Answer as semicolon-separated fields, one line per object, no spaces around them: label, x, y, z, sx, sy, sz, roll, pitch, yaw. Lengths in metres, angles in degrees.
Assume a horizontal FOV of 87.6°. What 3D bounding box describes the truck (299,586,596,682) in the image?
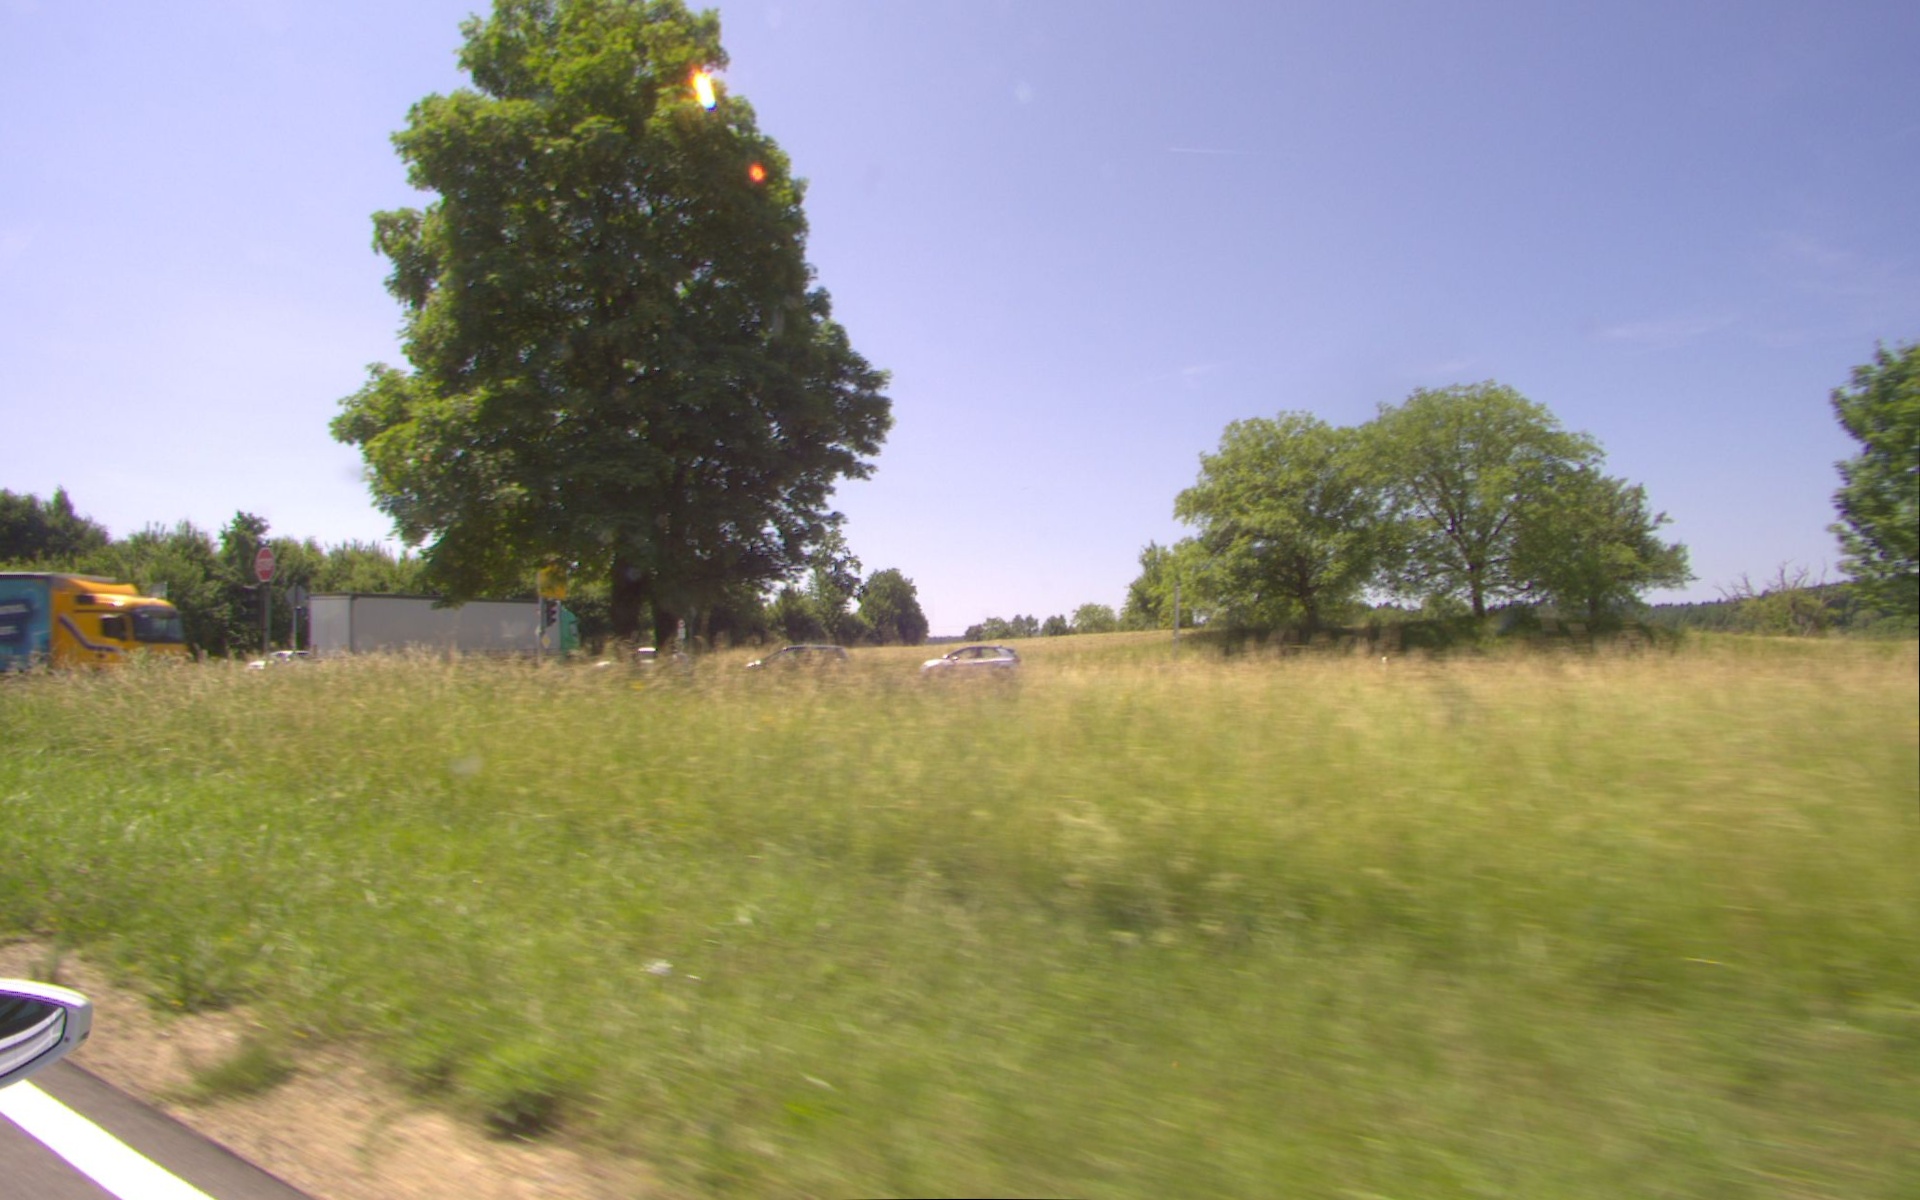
truck;-25.853;1.781;52.662;3.080;4.225;16.665;-1;-2;17

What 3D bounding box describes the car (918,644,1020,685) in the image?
car;0.402;2.568;40.192;3.943;1.573;1.655;0;-1;6

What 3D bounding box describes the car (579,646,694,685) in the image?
car;-13.158;2.656;40.861;4.089;1.489;1.730;0;-1;3

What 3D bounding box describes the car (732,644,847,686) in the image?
car;-6.841;2.604;40.431;4.298;1.573;1.729;0;-1;6

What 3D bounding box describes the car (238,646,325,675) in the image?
car;-34.466;3.061;50.966;1.541;1.388;3.529;-1;-2;14

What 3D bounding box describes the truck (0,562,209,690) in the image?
truck;-35.026;0.917;33.987;16.484;4.183;2.853;0;-2;-2
